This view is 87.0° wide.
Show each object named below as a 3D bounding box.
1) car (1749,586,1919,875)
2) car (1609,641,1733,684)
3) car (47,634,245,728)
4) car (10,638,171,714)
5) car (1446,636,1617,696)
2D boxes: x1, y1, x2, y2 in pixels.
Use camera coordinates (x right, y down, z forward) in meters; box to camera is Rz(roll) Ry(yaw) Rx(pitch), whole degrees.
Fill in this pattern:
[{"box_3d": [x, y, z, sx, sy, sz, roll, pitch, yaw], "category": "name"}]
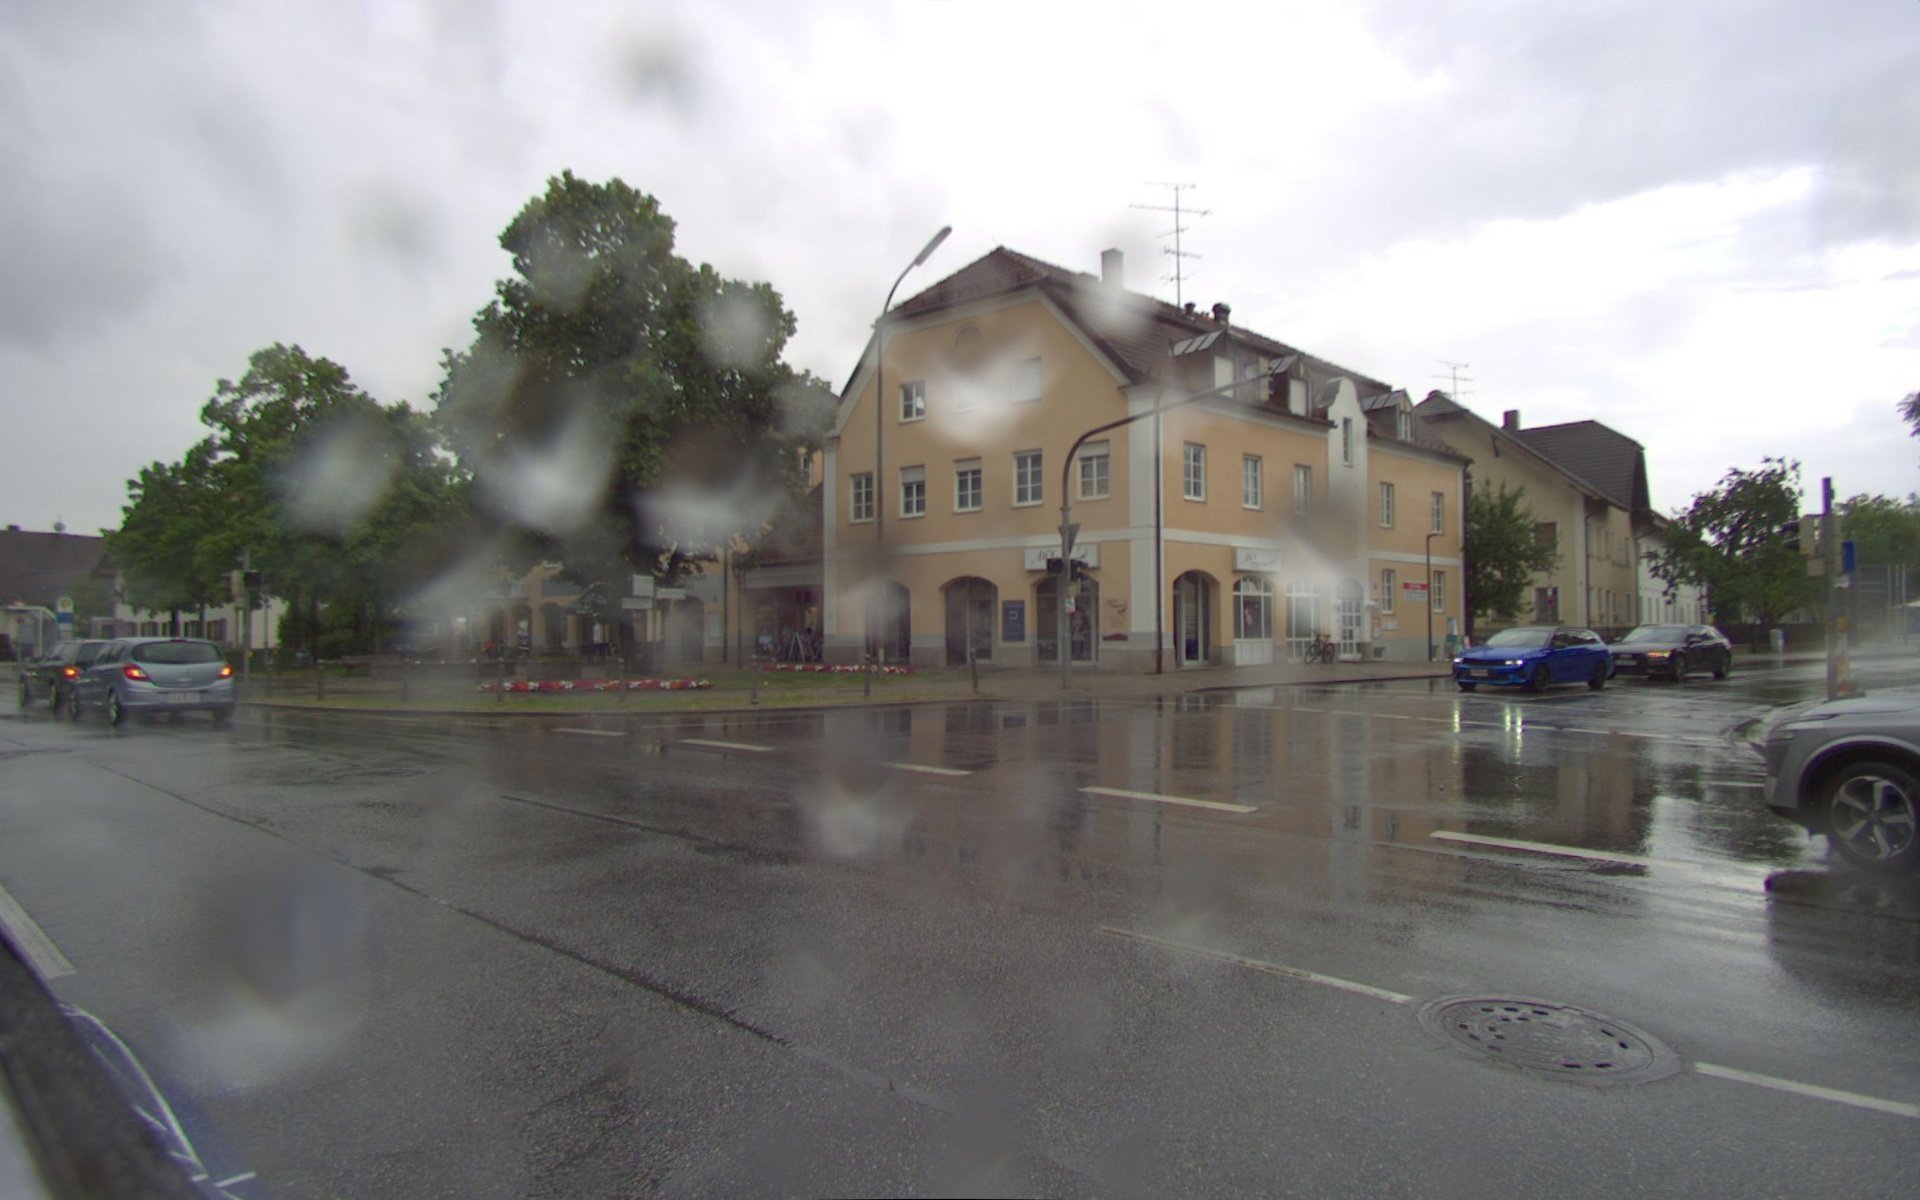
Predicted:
[{"box_3d": [7.056, 0.751, 5.093, 2.052, 1.686, 4.401, 2, -2, -23], "category": "car"}, {"box_3d": [18.911, 1.621, 26.877, 4.006, 1.025, 1.427, 1, -2, -35], "category": "car"}, {"box_3d": [-14.530, 1.349, 18.001, 4.099, 1.466, 1.850, -1, -2, 38], "category": "car"}, {"box_3d": [-18.657, 1.550, 21.669, 4.099, 1.466, 1.850, -1, -2, 38], "category": "car"}, {"box_3d": [13.054, 1.448, 23.036, 4.288, 1.194, 1.693, 1, -2, -35], "category": "car"}]
